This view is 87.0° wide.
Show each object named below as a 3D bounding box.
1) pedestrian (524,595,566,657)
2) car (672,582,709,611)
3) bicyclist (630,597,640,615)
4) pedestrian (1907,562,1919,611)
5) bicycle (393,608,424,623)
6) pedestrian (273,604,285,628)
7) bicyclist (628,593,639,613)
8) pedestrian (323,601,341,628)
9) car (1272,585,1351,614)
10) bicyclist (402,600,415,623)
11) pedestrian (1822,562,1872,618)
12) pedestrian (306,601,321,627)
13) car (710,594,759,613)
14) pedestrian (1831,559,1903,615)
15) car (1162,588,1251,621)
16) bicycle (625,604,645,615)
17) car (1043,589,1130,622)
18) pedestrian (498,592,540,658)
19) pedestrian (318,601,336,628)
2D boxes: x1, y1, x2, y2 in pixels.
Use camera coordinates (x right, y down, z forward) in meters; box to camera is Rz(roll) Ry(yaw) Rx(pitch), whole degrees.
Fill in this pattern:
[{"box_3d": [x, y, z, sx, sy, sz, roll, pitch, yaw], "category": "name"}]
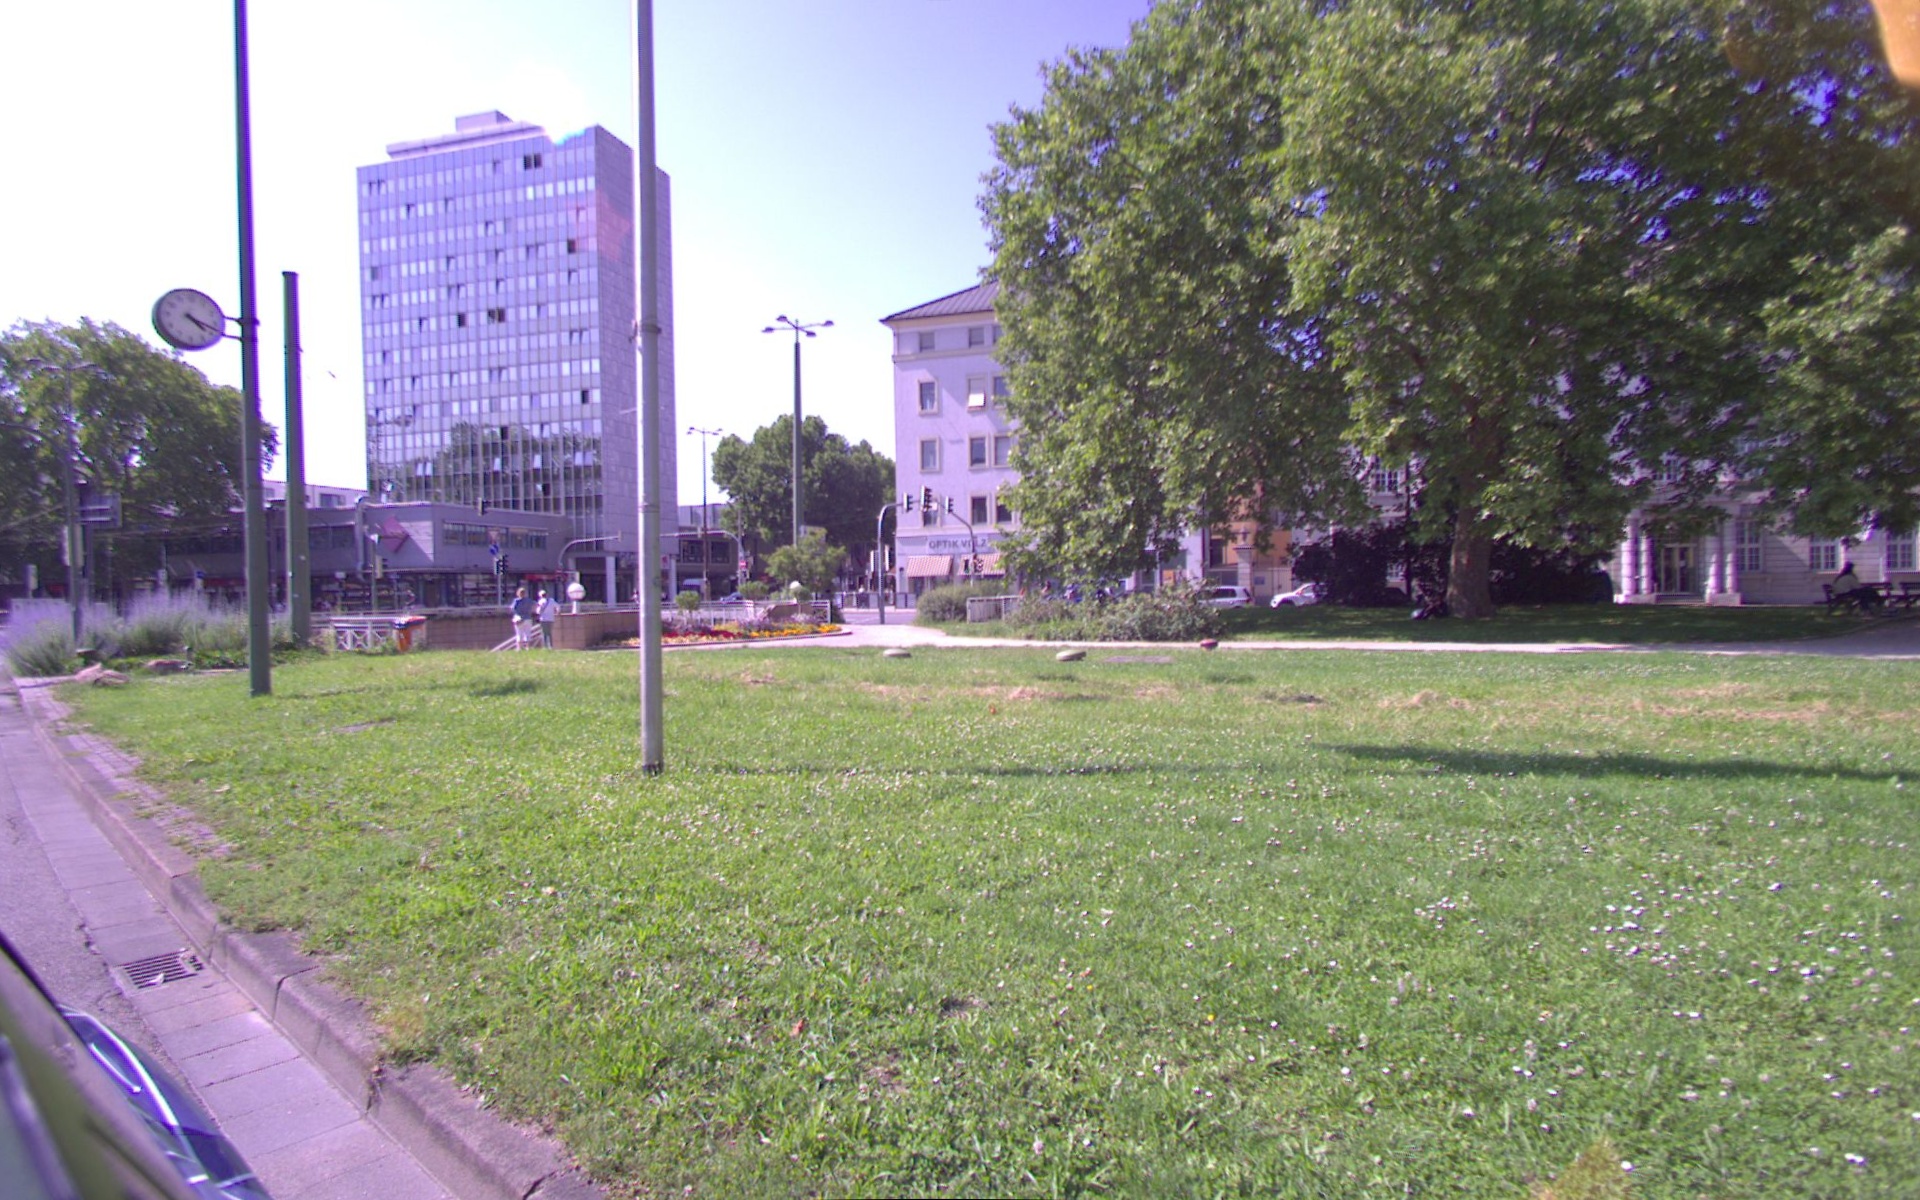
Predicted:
[{"box_3d": [-10.449, 0.642, 25.509, 0.473, 1.521, 0.843, -1, 0, 28], "category": "pedestrian"}, {"box_3d": [-28.286, -0.354, 106.298, 1.730, 2.938, 4.617, -1, 1, 13], "category": "car"}, {"box_3d": [-29.109, 0.521, 90.650, 0.580, 1.538, 0.678, 1, 1, 26], "category": "bicyclist"}, {"box_3d": [24.834, -0.353, 25.645, 0.744, 1.235, 1.061, -2, 1, -33], "category": "pedestrian"}, {"box_3d": [-41.337, 1.163, 75.919, 1.940, 1.110, 0.577, -2, 1, -44], "category": "bicycle"}, {"box_3d": [-48.047, 1.123, 71.366, 0.600, 1.650, 0.557, 0, 0, 43], "category": "pedestrian"}, {"box_3d": [-29.935, 0.280, 92.677, 0.695, 1.781, 0.676, 1, 1, 33], "category": "bicyclist"}, {"box_3d": [-43.846, 0.991, 70.654, 0.665, 1.850, 0.819, 0, 0, 15], "category": "pedestrian"}, {"box_3d": [16.398, -0.048, 47.377, 3.378, 1.248, 1.510, -1, 1, 16], "category": "car"}, {"box_3d": [-41.352, 0.868, 75.916, 0.674, 1.700, 0.584, -2, 1, -44], "category": "bicyclist"}, {"box_3d": [20.193, -0.223, 23.032, 0.744, 1.235, 0.672, -2, 1, -34], "category": "pedestrian"}, {"box_3d": [-46.680, 1.000, 73.106, 0.811, 1.820, 0.672, 0, 0, -41], "category": "pedestrian"}, {"box_3d": [-19.412, 0.264, 87.182, 1.874, 1.545, 4.039, -1, 1, 29], "category": "car"}, {"box_3d": [20.711, -0.299, 23.122, 0.744, 1.235, 1.061, -2, 1, -33], "category": "pedestrian"}, {"box_3d": [10.437, 0.185, 42.841, 3.553, 1.278, 1.603, -1, 1, 16], "category": "car"}, {"box_3d": [-29.102, 0.849, 90.671, 0.590, 0.889, 1.795, 1, 2, 26], "category": "bicycle"}, {"box_3d": [5.581, 0.233, 44.520, 3.553, 1.356, 1.603, -1, 1, 16], "category": "car"}, {"box_3d": [-10.866, 0.604, 24.949, 0.597, 1.605, 0.686, -1, 0, 28], "category": "pedestrian"}, {"box_3d": [-43.576, 1.007, 69.631, 0.665, 1.850, 0.820, 0, 0, 14], "category": "pedestrian"}]
